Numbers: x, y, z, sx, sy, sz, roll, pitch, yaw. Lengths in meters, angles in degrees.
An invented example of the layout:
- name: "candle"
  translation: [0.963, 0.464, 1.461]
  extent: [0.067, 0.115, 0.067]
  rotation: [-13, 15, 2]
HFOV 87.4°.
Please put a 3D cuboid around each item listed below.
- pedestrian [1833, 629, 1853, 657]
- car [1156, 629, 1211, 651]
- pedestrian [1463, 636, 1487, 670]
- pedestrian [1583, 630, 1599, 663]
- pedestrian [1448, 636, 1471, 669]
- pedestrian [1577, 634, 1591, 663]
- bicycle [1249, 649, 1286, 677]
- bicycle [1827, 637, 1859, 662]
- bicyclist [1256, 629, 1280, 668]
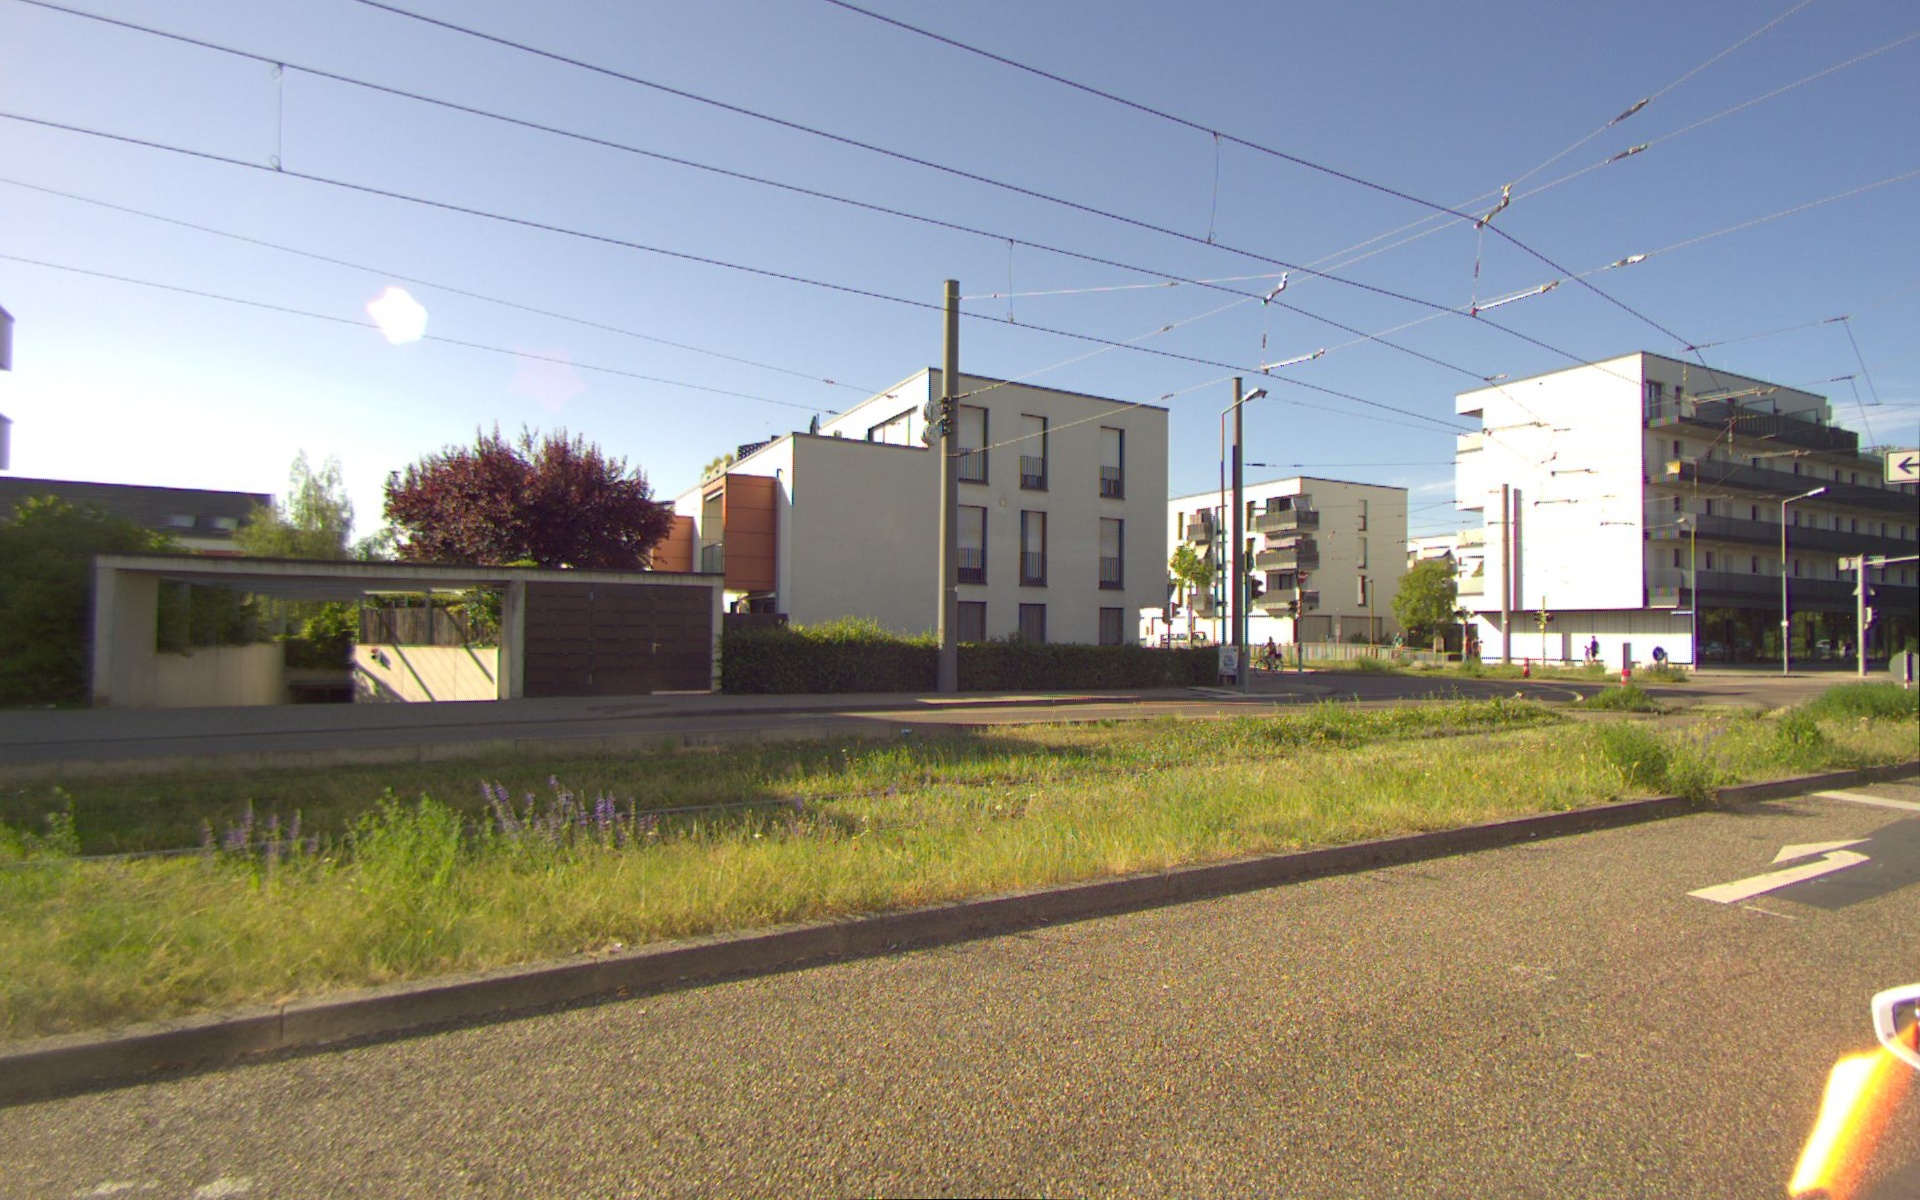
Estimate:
- name: "pedestrian"
  translation: [48.026, 2.343, 54.642]
  extent: [0.588, 1.529, 0.640]
  rotation: [2, 0, -26]
- name: "car"
  translation: [17.813, 3.180, 80.299]
  extent: [1.974, 1.595, 4.309]
  rotation: [2, 0, -27]
- name: "pedestrian"
  translation: [25.511, 2.631, 49.748]
  extent: [0.736, 1.626, 0.765]
  rotation: [2, 0, -37]
- name: "pedestrian"
  translation: [34.812, 2.553, 55.415]
  extent: [0.513, 1.767, 0.539]
  rotation: [2, 0, -35]
- name: "pedestrian"
  translation: [25.117, 2.623, 50.504]
  extent: [0.736, 1.626, 0.765]
  rotation: [2, 0, -37]
- name: "pedestrian"
  translation: [34.307, 2.664, 55.220]
  extent: [0.513, 1.523, 0.438]
  rotation: [2, 0, -35]
- name: "bicycle"
  translation: [13.306, 2.711, 43.447]
  extent: [0.811, 1.139, 1.850]
  rotation: [2, 0, 43]
- name: "bicycle"
  translation: [48.070, 2.705, 54.672]
  extent: [1.888, 1.350, 0.628]
  rotation: [2, 0, -28]
- name: "bicyclist"
  translation: [13.314, 2.095, 43.412]
  extent: [0.637, 1.635, 0.774]
  rotation: [2, 0, -45]
